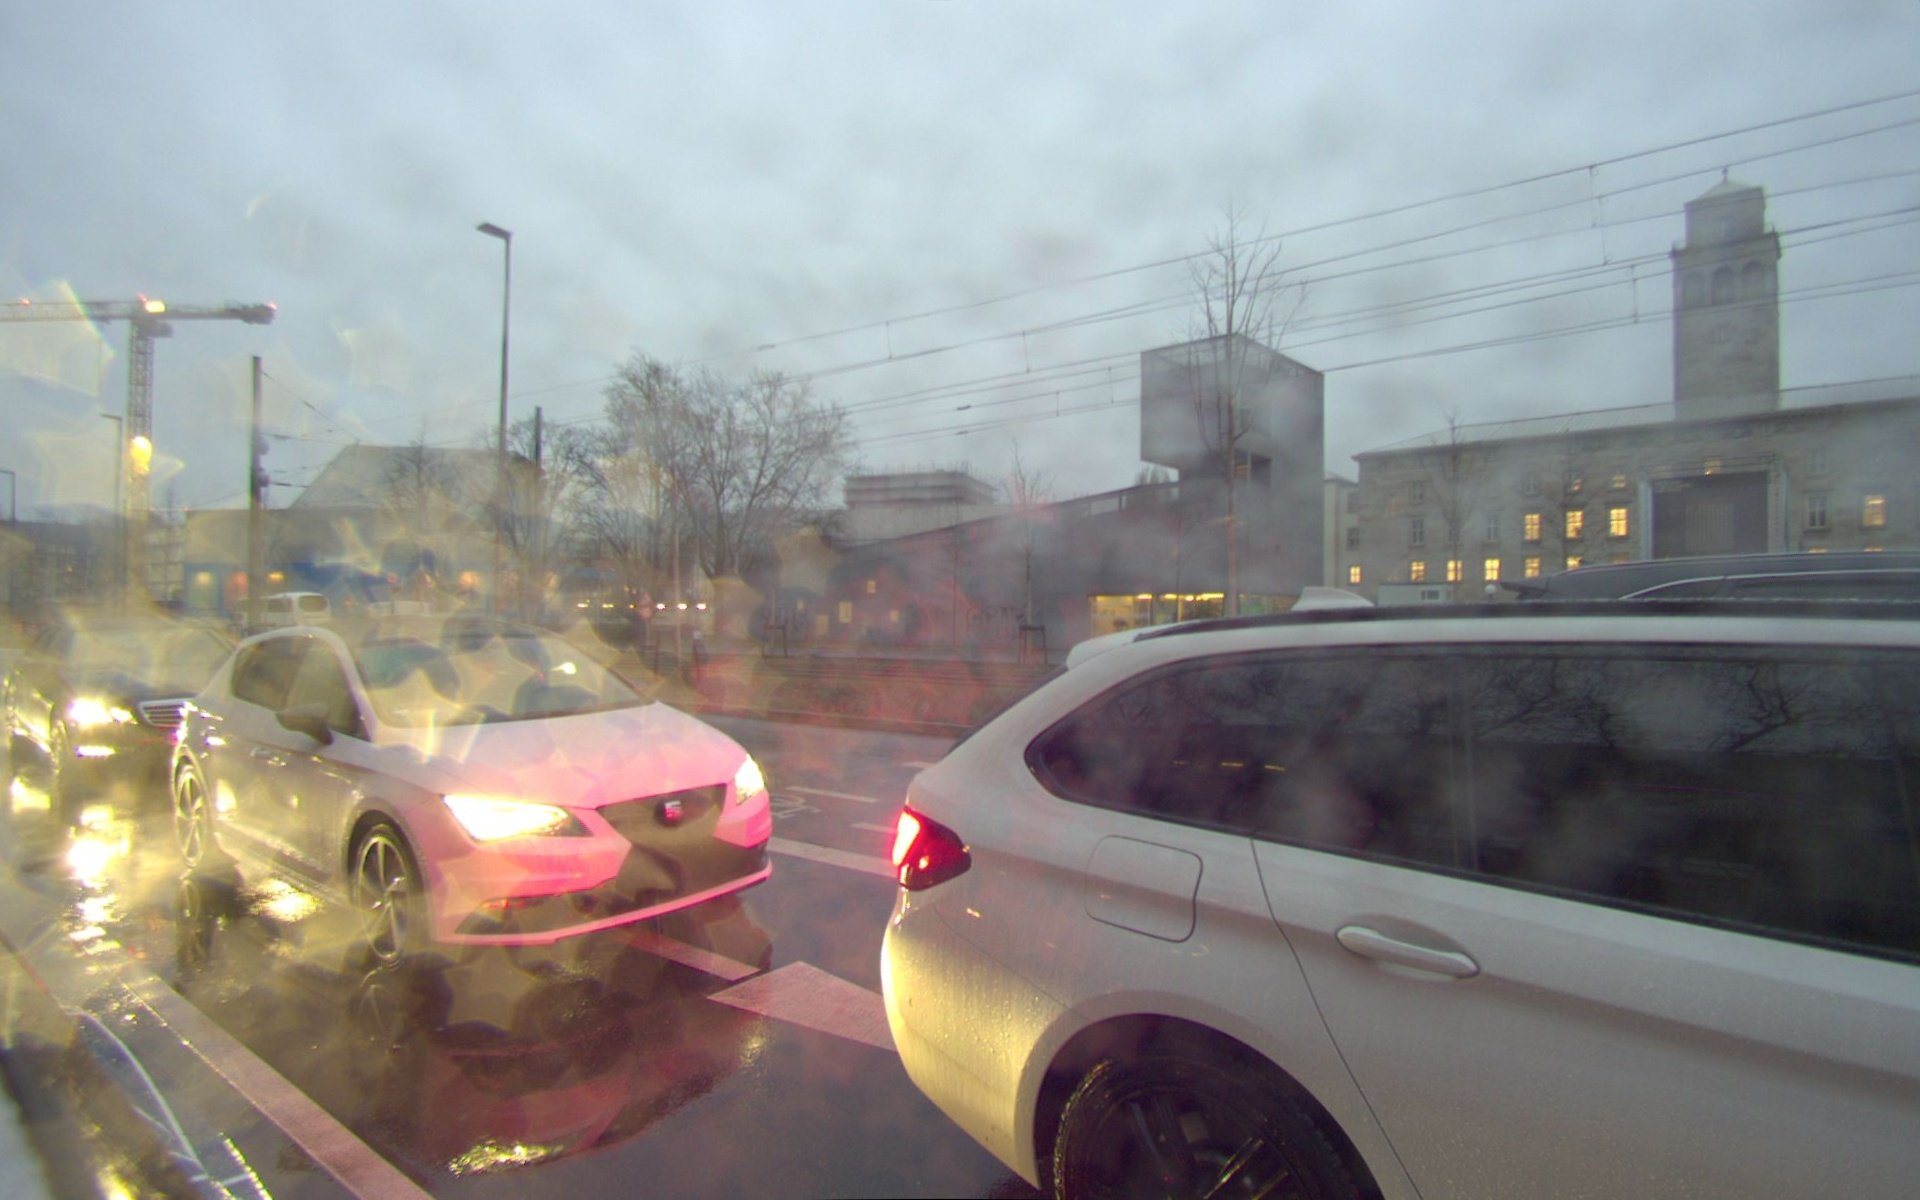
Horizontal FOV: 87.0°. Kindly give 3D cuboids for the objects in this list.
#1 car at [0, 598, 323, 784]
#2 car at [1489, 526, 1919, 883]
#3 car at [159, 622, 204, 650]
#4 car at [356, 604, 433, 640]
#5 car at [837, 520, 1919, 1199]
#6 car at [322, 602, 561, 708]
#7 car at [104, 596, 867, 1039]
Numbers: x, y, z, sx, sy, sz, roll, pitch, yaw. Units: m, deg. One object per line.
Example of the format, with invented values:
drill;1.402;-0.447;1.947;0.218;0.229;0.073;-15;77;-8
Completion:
car;-8.488;0.786;10.391;4.501;1.498;1.974;-1;-2;39
car;5.225;0.474;5.002;4.289;1.596;1.946;-1;-1;42
car;-58.915;2.679;76.533;3.998;2.029;1.973;-1;0;41
car;-30.876;1.217;55.256;3.989;1.910;2.072;-1;-2;34
car;2.083;0.670;1.644;4.557;1.498;1.996;-1;-2;41
car;-8.711;0.818;16.825;4.659;1.519;1.830;0;-1;39
car;-2.835;0.770;5.583;4.497;1.498;1.926;-1;0;37
